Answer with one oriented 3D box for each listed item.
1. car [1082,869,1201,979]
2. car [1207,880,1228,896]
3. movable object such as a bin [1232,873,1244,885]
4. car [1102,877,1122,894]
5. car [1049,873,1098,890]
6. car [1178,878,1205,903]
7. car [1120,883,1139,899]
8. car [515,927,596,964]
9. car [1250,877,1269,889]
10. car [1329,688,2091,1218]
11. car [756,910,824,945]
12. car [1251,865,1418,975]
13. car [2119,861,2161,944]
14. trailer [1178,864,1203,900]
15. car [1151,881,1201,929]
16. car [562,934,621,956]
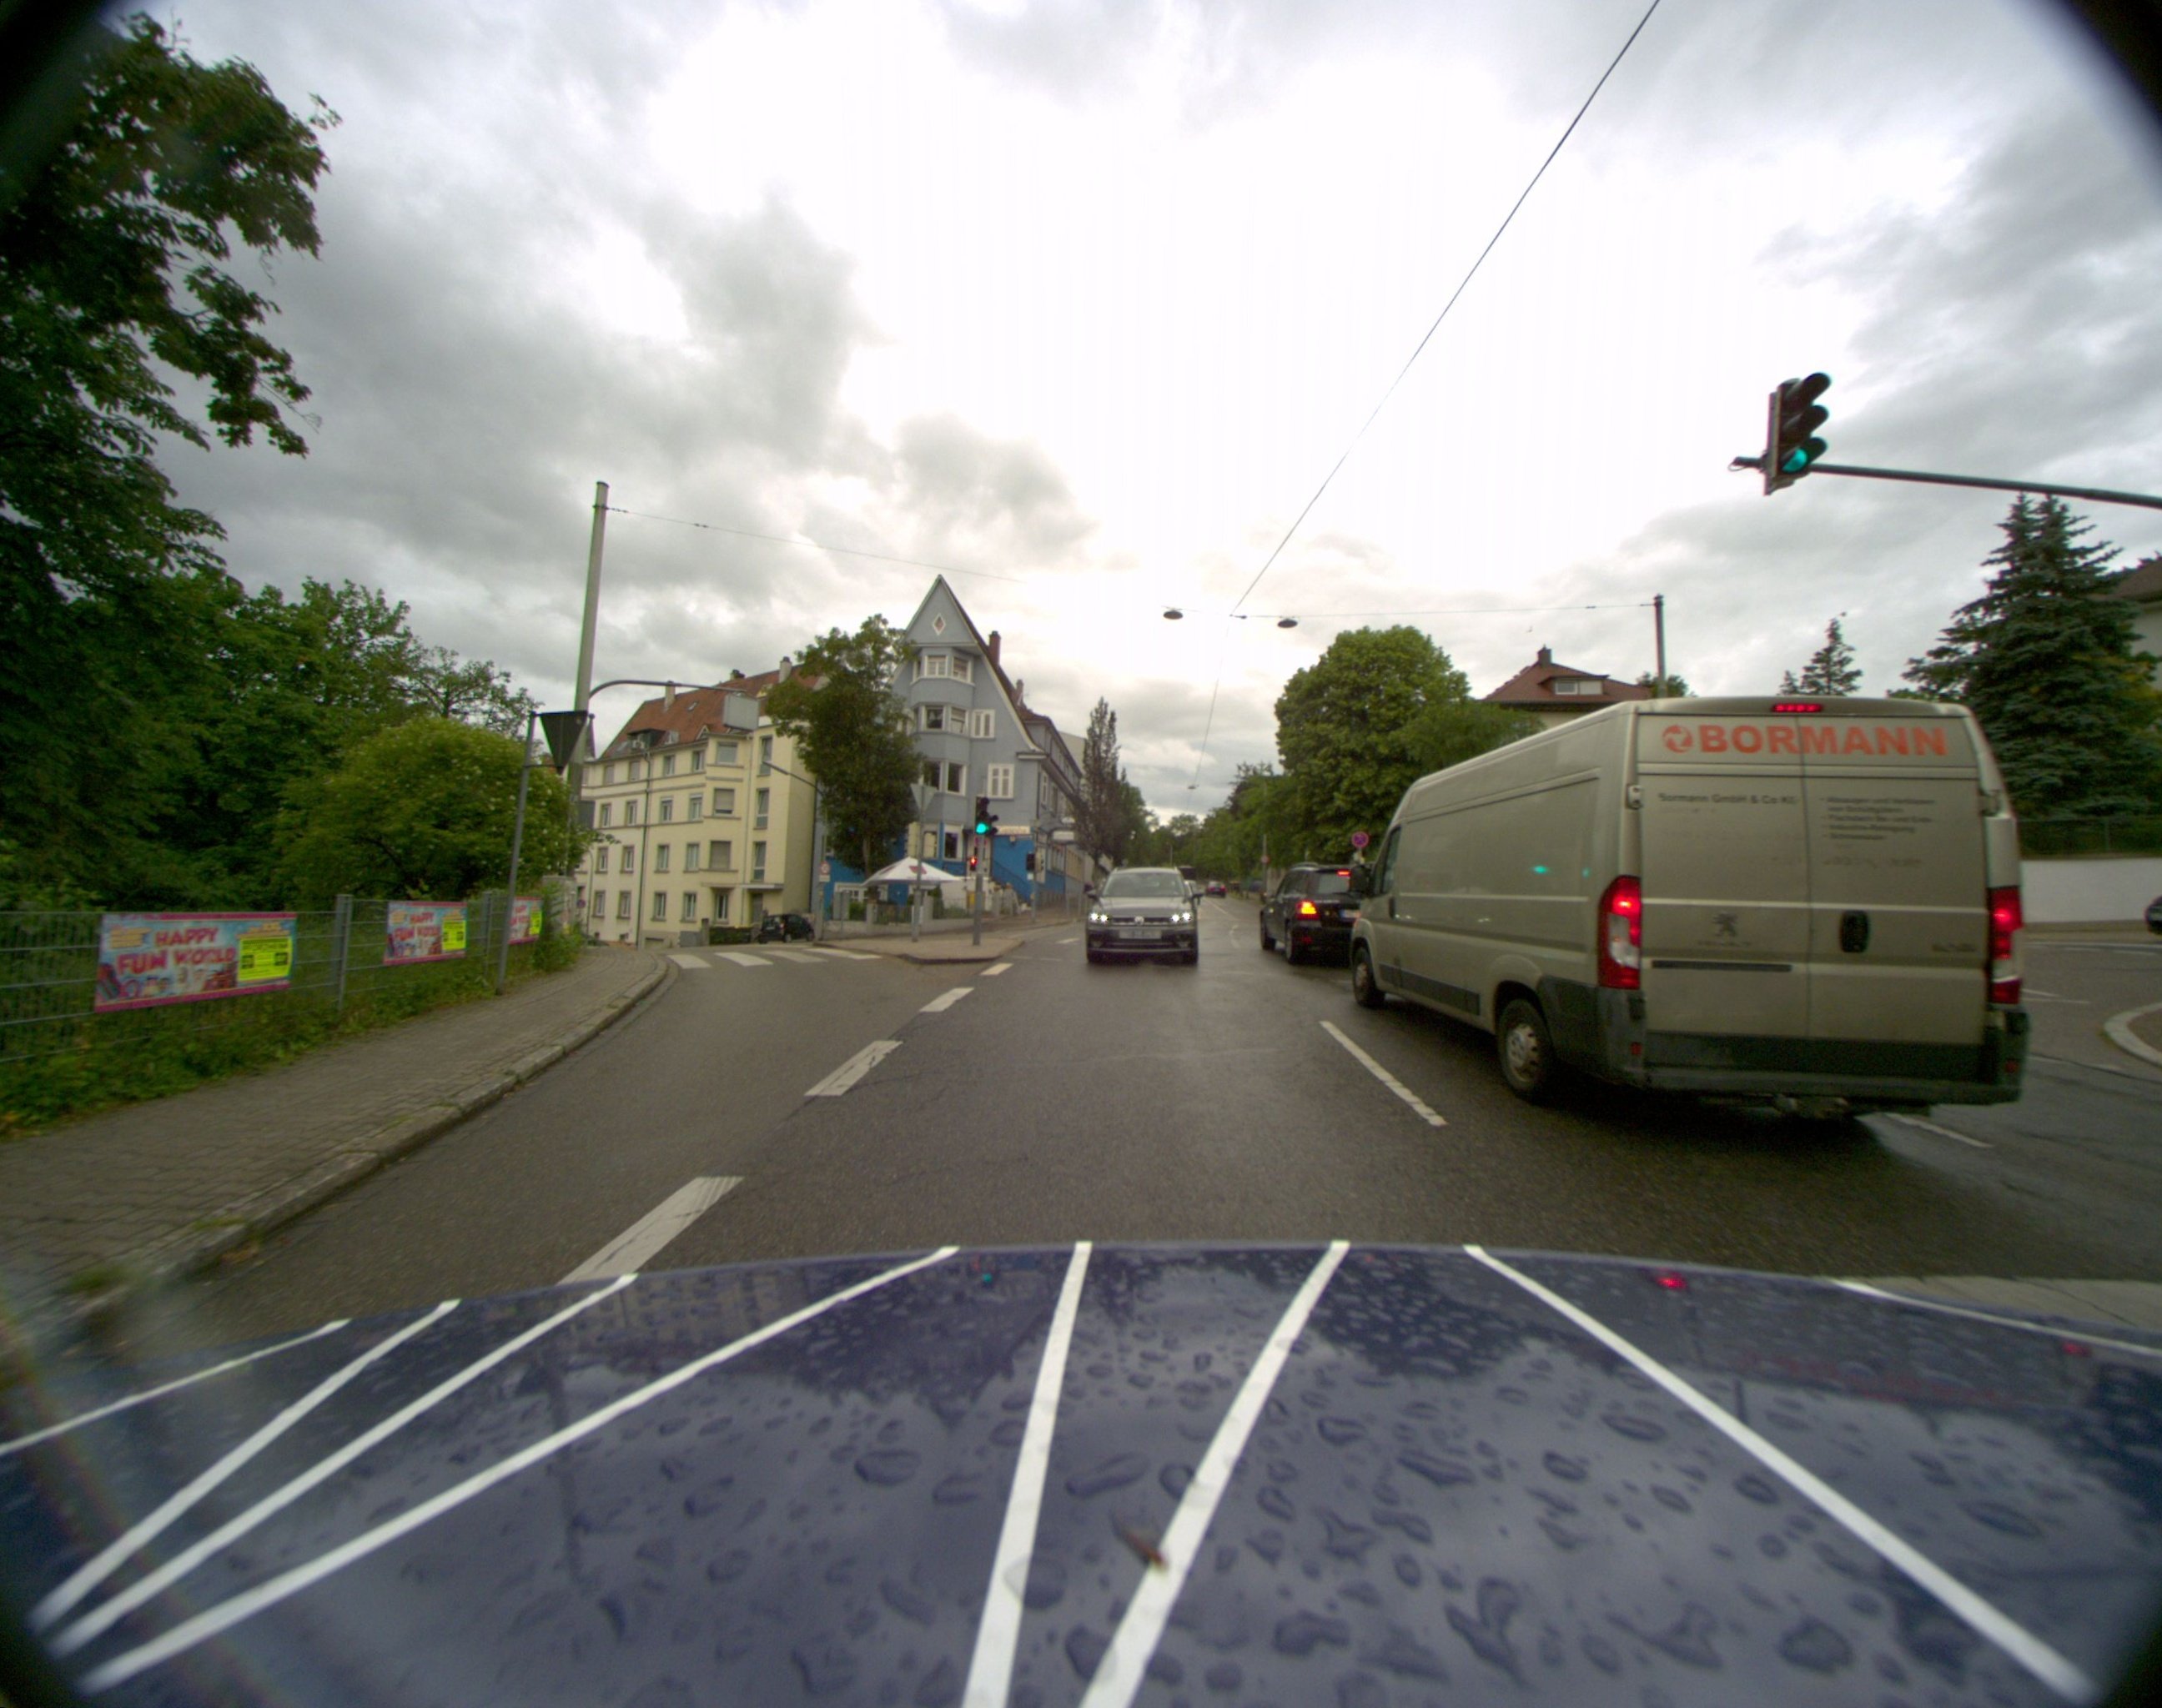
[{"bbox_3d":[1.257,1.126,13.931,1.784,1.631,4.204,1,-1,10],"label":"car"},{"bbox_3d":[13.359,3.304,74.407,1.856,1.477,5.373,1,-2,10],"label":"car"},{"bbox_3d":[18.502,2.919,89.528,1.226,1.342,1.123,1,0,-1],"label":"movable object such as a bin"},{"bbox_3d":[2.672,2.704,65.422,1.590,1.403,3.458,2,-1,3],"label":"car"},{"bbox_3d":[-0.698,2.567,70.957,4.368,1.399,1.807,-1,0,-9],"label":"car"},{"bbox_3d":[7.797,2.563,53.744,1.735,1.610,3.477,-1,0,7],"label":"car"},{"bbox_3d":[5.086,3.829,79.254,1.818,1.451,4.744,1,-1,5],"label":"car"},{"bbox_3d":[-36.027,6.221,52.173,1.938,2.217,4.186,-11,-10,33],"label":"car"},{"bbox_3d":[22.916,3.727,97.557,1.855,1.482,3.868,-1,-2,5],"label":"car"},{"bbox_3d":[3.937,0.491,6.474,2.122,2.530,5.542,1,0,4],"label":"car"},{"bbox_3d":[-15.198,3.827,39.820,1.637,1.488,3.147,-5,-3,16],"label":"car"},{"bbox_3d":[4.274,1.048,13.549,1.825,1.642,4.349,0,-2,4],"label":"car"},{"bbox_3d":[20.396,0.747,12.535,3.358,1.428,1.676,-4,-7,27],"label":"car"},{"bbox_3d":[8.164,2.071,56.965,1.770,2.610,3.034,-1,0,7],"label":"trailer"},{"bbox_3d":[3.701,1.916,29.757,1.785,1.631,4.203,1,-1,7],"label":"car"},{"bbox_3d":[-33.112,6.176,51.500,1.303,1.394,3.062,-6,-8,29],"label":"car"}]
